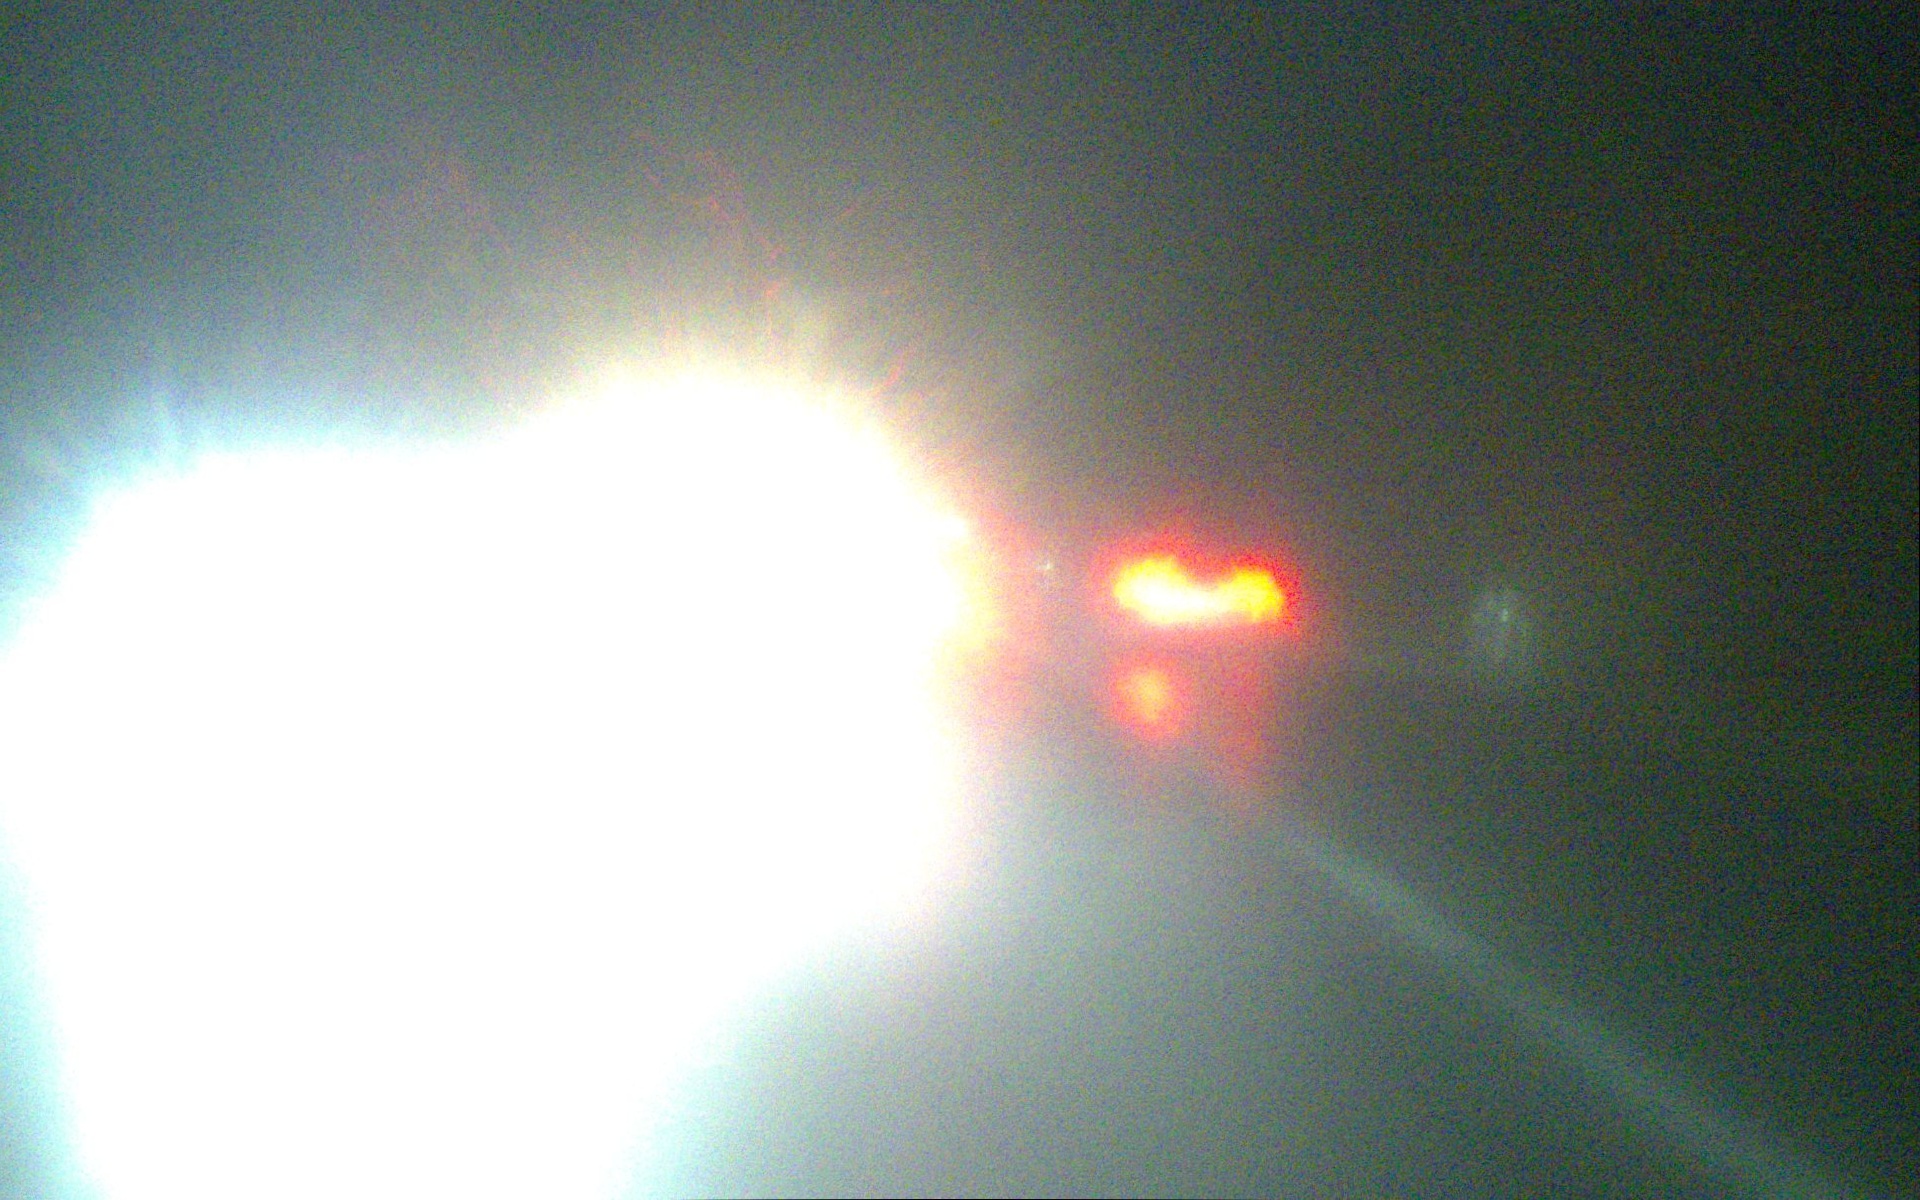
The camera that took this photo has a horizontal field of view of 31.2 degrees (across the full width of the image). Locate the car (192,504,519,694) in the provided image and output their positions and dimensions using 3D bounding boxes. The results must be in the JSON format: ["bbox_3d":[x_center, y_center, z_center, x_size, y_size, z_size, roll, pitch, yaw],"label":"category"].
[{"bbox_3d":[-4.987,-0.043,28.983,1.993,1.413,4.666,2,1,-1],"label":"car"}]

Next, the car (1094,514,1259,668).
[{"bbox_3d":[3.000,-0.148,48.389,2.093,2.007,4.000,2,1,1],"label":"car"}]

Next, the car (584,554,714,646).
[{"bbox_3d":[-5.458,-0.023,60.667,1.993,1.493,3.775,2,1,-1],"label":"car"}]

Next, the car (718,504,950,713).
[{"bbox_3d":[-1.086,0.037,29.318,1.808,1.616,4.001,1,1,-2],"label":"car"}]
